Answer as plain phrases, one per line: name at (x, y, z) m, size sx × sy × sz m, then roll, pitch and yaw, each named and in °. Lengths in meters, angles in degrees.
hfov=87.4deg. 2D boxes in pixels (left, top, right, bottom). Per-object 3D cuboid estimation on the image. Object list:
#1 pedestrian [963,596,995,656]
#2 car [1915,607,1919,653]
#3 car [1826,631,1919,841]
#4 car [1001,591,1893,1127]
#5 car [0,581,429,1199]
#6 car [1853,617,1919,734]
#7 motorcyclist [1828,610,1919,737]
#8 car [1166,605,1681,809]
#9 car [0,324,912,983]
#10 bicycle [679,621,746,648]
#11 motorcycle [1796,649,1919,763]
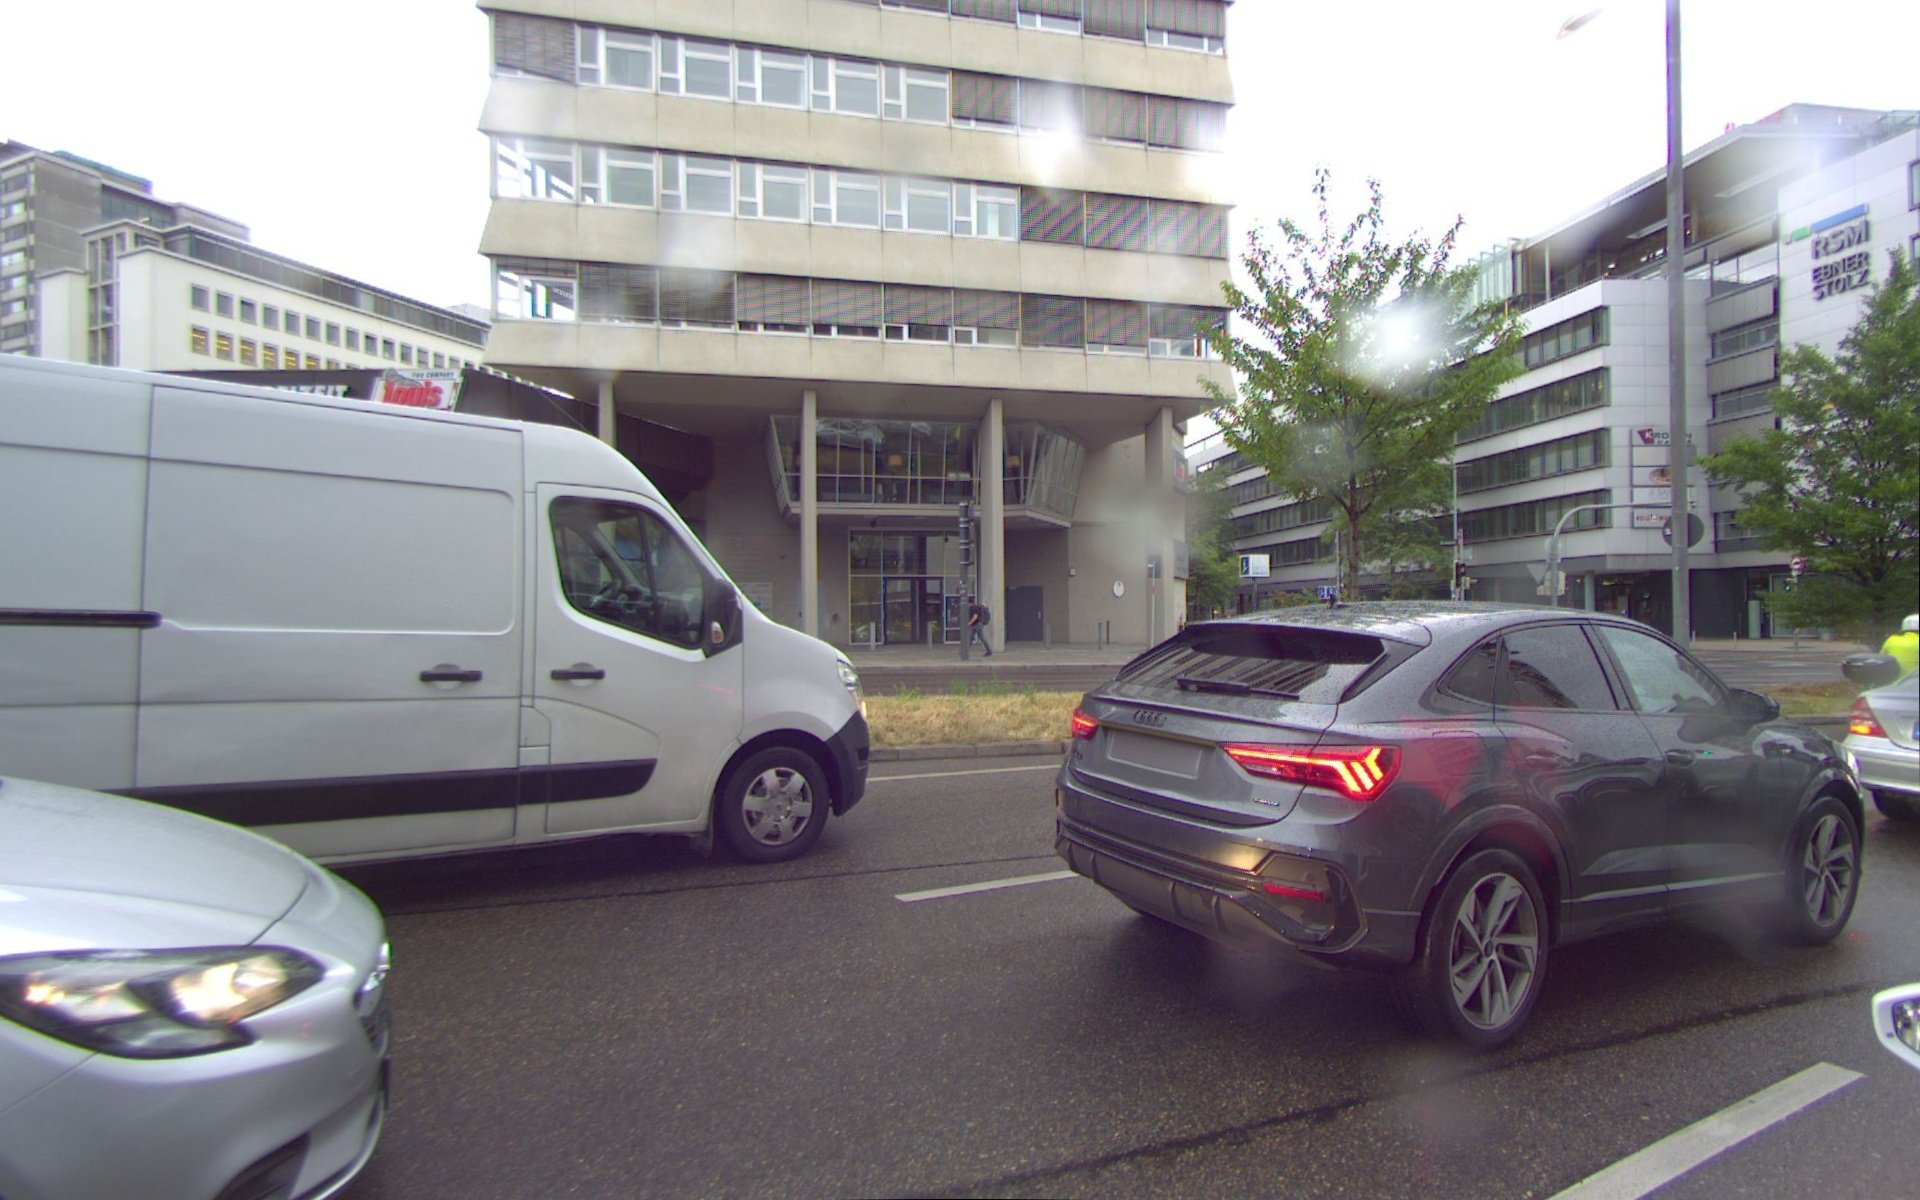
pedestrian at (0.539, 0.758, 29.107) m, size 0.751 × 1.706 × 0.677 m, roll 1°, pitch 0°, yaw -16°
car at (35.706, 1.103, 34.655) m, size 3.927 × 1.632 × 1.996 m, roll 1°, pitch 1°, yaw -9°
car at (8.549, 1.005, 7.412) m, size 4.049 × 1.426 × 1.568 m, roll 2°, pitch 0°, yaw -22°
car at (2.413, 0.775, 4.662) m, size 4.221 × 1.542 × 1.640 m, roll 1°, pitch 0°, yaw -30°
car at (-3.054, 0.668, 1.583) m, size 3.831 × 1.455 × 1.639 m, roll 1°, pitch 0°, yaw -32°
car at (14.390, 1.051, 13.671) m, size 3.940 × 1.506 × 1.704 m, roll 2°, pitch 0°, yaw -21°
motorcyclist at (10.906, 0.838, 11.690) m, size 1.101 × 1.398 × 0.769 m, roll 2°, pitch 0°, yaw -20°
car at (4.465, 0.870, 9.593) m, size 4.712 × 1.554 × 1.860 m, roll 1°, pitch 0°, yaw -25°
car at (-3.061, 0.218, 5.351) m, size 5.426 × 2.473 × 1.933 m, roll 1°, pitch 0°, yaw -36°
bicycle at (-8.376, 1.164, 34.048) m, size 2.166 × 0.871 × 0.456 m, roll 2°, pitch 0°, yaw -31°
motorcycle at (10.787, 1.198, 11.652) m, size 1.998 × 1.200 × 0.799 m, roll 2°, pitch 0°, yaw -21°
